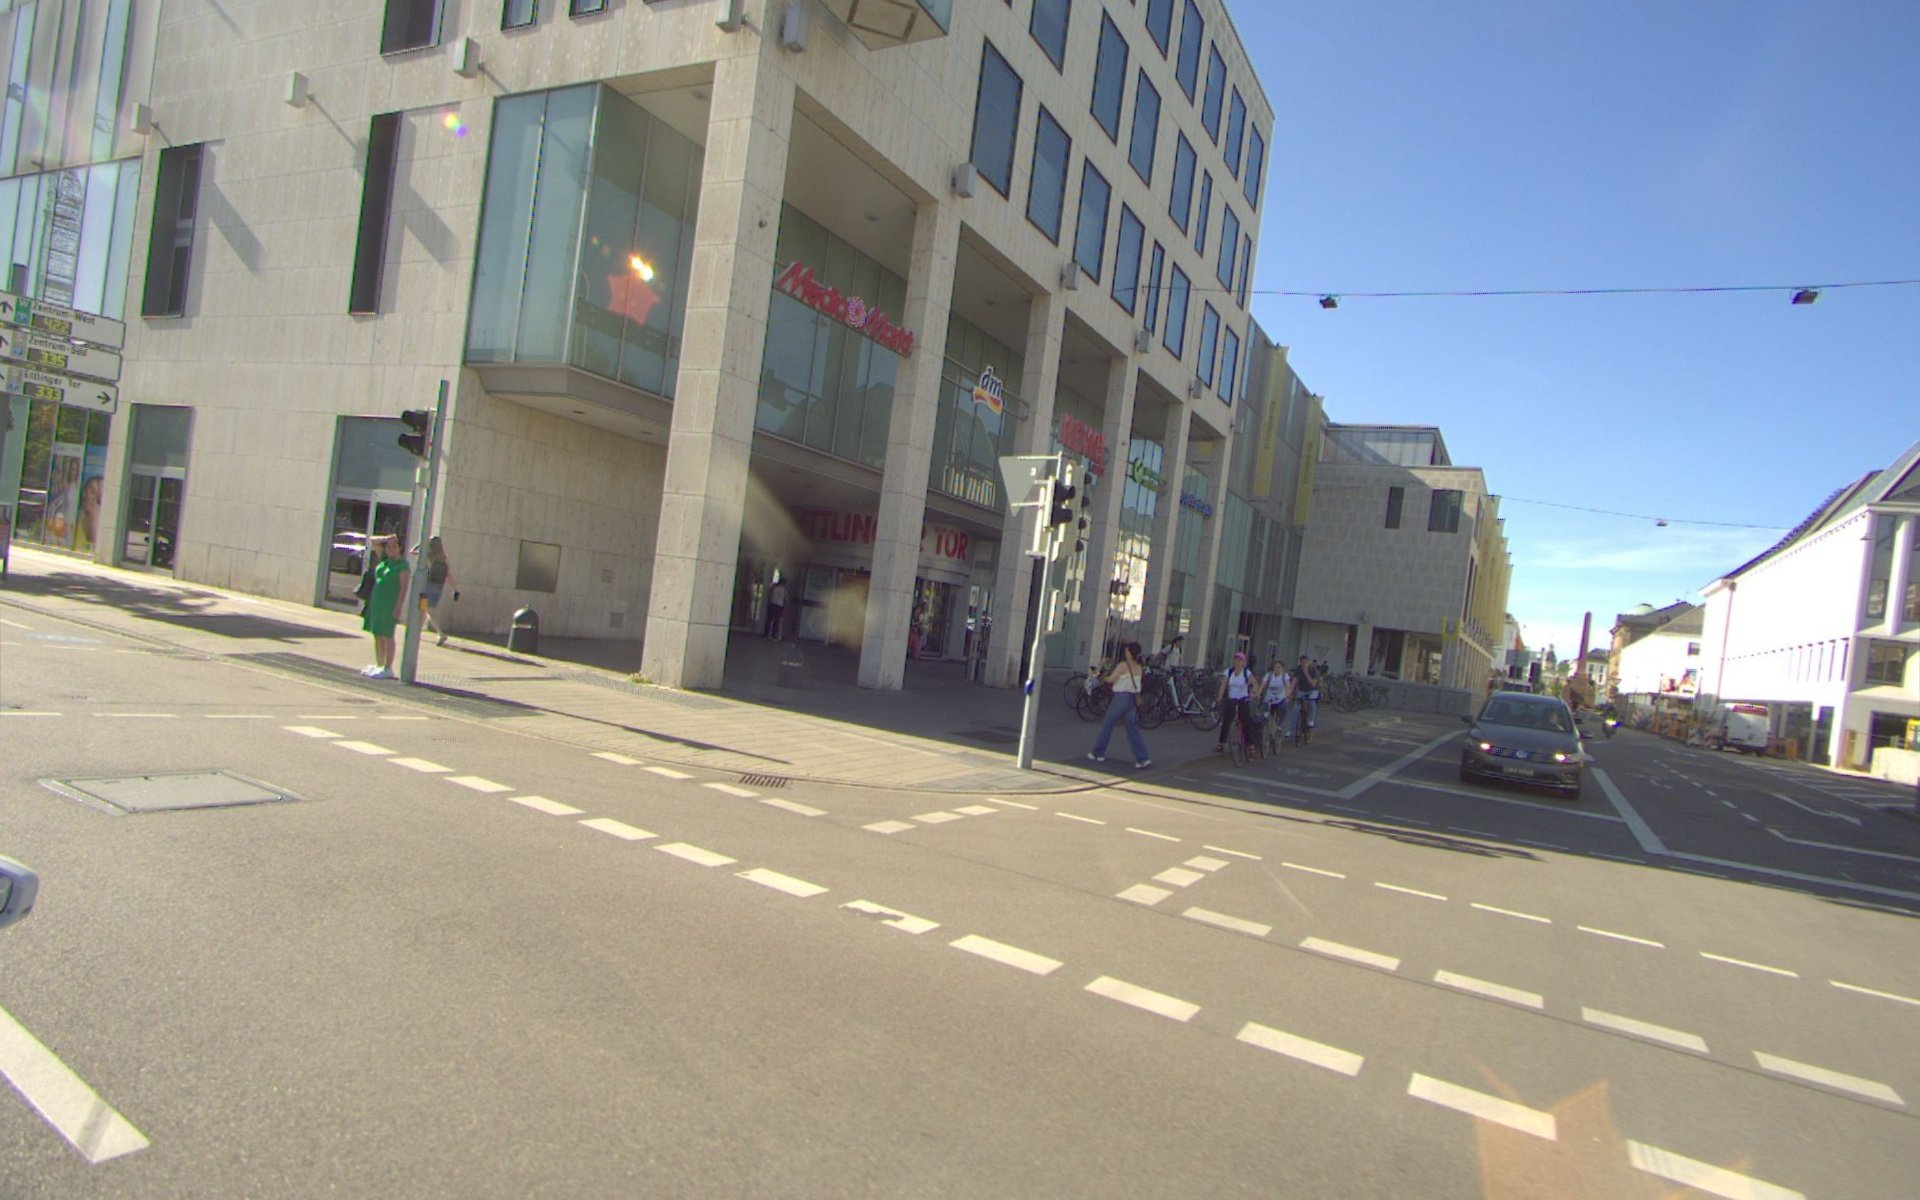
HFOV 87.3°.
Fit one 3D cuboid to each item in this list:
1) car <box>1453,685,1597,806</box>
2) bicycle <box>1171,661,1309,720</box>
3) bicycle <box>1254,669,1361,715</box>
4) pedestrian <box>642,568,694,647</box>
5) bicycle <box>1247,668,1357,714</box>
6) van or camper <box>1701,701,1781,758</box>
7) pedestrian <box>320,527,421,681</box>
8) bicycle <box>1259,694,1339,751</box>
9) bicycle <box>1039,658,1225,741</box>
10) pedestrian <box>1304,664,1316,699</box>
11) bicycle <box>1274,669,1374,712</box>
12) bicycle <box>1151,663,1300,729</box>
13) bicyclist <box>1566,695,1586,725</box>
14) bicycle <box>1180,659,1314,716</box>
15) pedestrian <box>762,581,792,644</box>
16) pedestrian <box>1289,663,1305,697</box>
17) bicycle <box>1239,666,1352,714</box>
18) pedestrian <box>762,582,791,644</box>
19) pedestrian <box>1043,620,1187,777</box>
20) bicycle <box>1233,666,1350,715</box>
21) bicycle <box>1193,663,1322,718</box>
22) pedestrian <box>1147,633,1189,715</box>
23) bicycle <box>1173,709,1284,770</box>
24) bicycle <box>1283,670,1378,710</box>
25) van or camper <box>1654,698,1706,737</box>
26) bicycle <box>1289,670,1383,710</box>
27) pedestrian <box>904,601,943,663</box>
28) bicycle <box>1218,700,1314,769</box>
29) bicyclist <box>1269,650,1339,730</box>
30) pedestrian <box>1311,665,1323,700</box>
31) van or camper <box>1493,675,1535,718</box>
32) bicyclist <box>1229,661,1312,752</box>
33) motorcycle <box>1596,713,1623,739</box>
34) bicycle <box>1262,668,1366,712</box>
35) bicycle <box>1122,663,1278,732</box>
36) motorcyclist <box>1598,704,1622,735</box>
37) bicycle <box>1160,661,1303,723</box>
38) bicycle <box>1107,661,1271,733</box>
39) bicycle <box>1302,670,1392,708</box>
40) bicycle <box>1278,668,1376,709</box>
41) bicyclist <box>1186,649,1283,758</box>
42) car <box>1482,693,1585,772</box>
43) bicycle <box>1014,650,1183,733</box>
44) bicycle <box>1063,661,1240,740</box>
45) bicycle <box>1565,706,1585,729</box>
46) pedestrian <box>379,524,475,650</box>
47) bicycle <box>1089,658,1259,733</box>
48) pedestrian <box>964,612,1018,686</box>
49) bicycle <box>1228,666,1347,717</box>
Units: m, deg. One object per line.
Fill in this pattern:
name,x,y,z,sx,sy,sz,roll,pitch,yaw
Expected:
car,9.861,2.426,17.660,1.829,1.631,4.194,6,-2,29
bicycle,7.711,2.481,27.816,3.438,1.107,1.068,7,-1,30
bicycle,12.610,3.331,36.560,3.438,1.107,1.068,7,-1,30
pedestrian,-6.362,0.179,21.941,0.547,1.628,0.749,8,1,26
bicycle,12.056,3.204,35.544,3.438,1.107,1.068,7,-1,30
van or camper,42.529,6.977,54.969,2.284,2.544,6.419,7,-1,30
pedestrian,-7.049,0.049,12.036,0.685,1.725,0.658,7,3,25
bicycle,6.910,2.447,20.429,1.013,0.943,2.197,7,-1,31
bicycle,3.425,1.965,20.258,3.437,1.107,1.068,7,-1,29
pedestrian,17.700,4.118,50.860,0.290,1.704,0.337,8,1,36
bicycle,14.078,3.484,38.950,3.438,1.107,1.068,7,-1,30
bicycle,6.752,2.425,25.684,3.438,1.107,1.068,7,-1,30
bicyclist,36.751,6.548,60.014,0.782,1.690,0.955,7,-1,30
bicycle,8.218,2.498,28.891,3.438,1.107,1.068,7,-1,30
pedestrian,-5.401,0.362,29.690,0.639,1.784,0.555,8,1,-9
pedestrian,17.394,4.125,51.943,0.563,1.704,0.537,8,0,20
bicycle,11.479,3.066,34.520,3.438,1.107,1.068,7,-1,30
pedestrian,-5.538,0.378,30.371,0.639,1.784,0.555,8,1,-9
pedestrian,2.082,1.273,13.509,1.496,1.825,0.968,7,2,27
bicycle,11.007,2.987,33.474,3.438,1.107,1.068,7,-1,30
bicycle,8.822,2.668,29.905,3.438,1.107,1.068,7,-1,30
pedestrian,5.220,1.838,25.237,0.727,1.930,0.637,7,0,4
bicycle,4.201,2.127,15.599,1.054,0.679,2.197,7,-1,31
bicycle,15.123,3.669,41.118,3.438,1.107,1.068,7,-1,30
van or camper,55.240,8.968,77.273,2.284,2.544,6.419,7,-1,30
bicycle,15.725,3.753,42.117,3.438,1.107,1.068,7,-1,30
pedestrian,-1.077,0.940,29.469,0.672,1.704,0.731,7,0,-30
bicycle,5.440,2.336,17.778,1.054,0.955,2.197,7,-1,31
bicyclist,6.973,1.817,20.377,1.023,1.451,0.934,7,0,31
pedestrian,17.968,4.145,50.638,0.290,1.704,0.337,8,1,36
van or camper,37.877,6.574,68.869,2.140,2.544,6.420,7,-1,29
bicyclist,5.485,1.868,17.737,1.058,1.413,0.934,7,0,31
motorcycle,31.704,6.125,49.144,0.782,1.111,2.961,7,-2,29
bicycle,13.295,3.375,37.828,3.438,1.107,1.068,7,-1,30
bicycle,5.785,2.337,24.389,3.438,1.107,1.068,7,-1,30
motorcyclist,31.684,5.812,49.064,0.782,1.399,1.082,7,-1,29
bicycle,7.195,2.432,26.773,3.438,1.107,1.068,7,-1,30
bicycle,5.286,2.227,23.365,3.438,1.107,1.068,7,-1,30
bicycle,16.694,3.840,43.423,3.438,1.107,1.068,7,-1,30
bicycle,14.591,3.519,40.075,3.438,1.107,1.068,7,-1,30
bicyclist,4.278,1.595,15.635,1.054,1.494,1.023,7,0,31
car,13.578,3.053,23.941,1.829,1.437,4.614,5,-1,29
bicycle,2.647,1.733,19.360,2.940,1.107,1.068,7,-1,29
bicycle,4.015,2.088,21.263,3.437,1.107,1.068,7,-1,29
bicycle,36.679,7.001,59.995,0.782,1.228,2.961,7,-2,29
pedestrian,-8.348,-0.198,15.755,1.047,1.825,0.729,7,2,27
bicycle,4.715,2.097,22.355,3.437,1.107,1.068,7,-1,29
pedestrian,0.781,1.222,25.032,0.845,1.704,0.979,8,0,25
bicycle,10.533,2.929,32.428,3.438,1.107,1.068,7,-1,30
